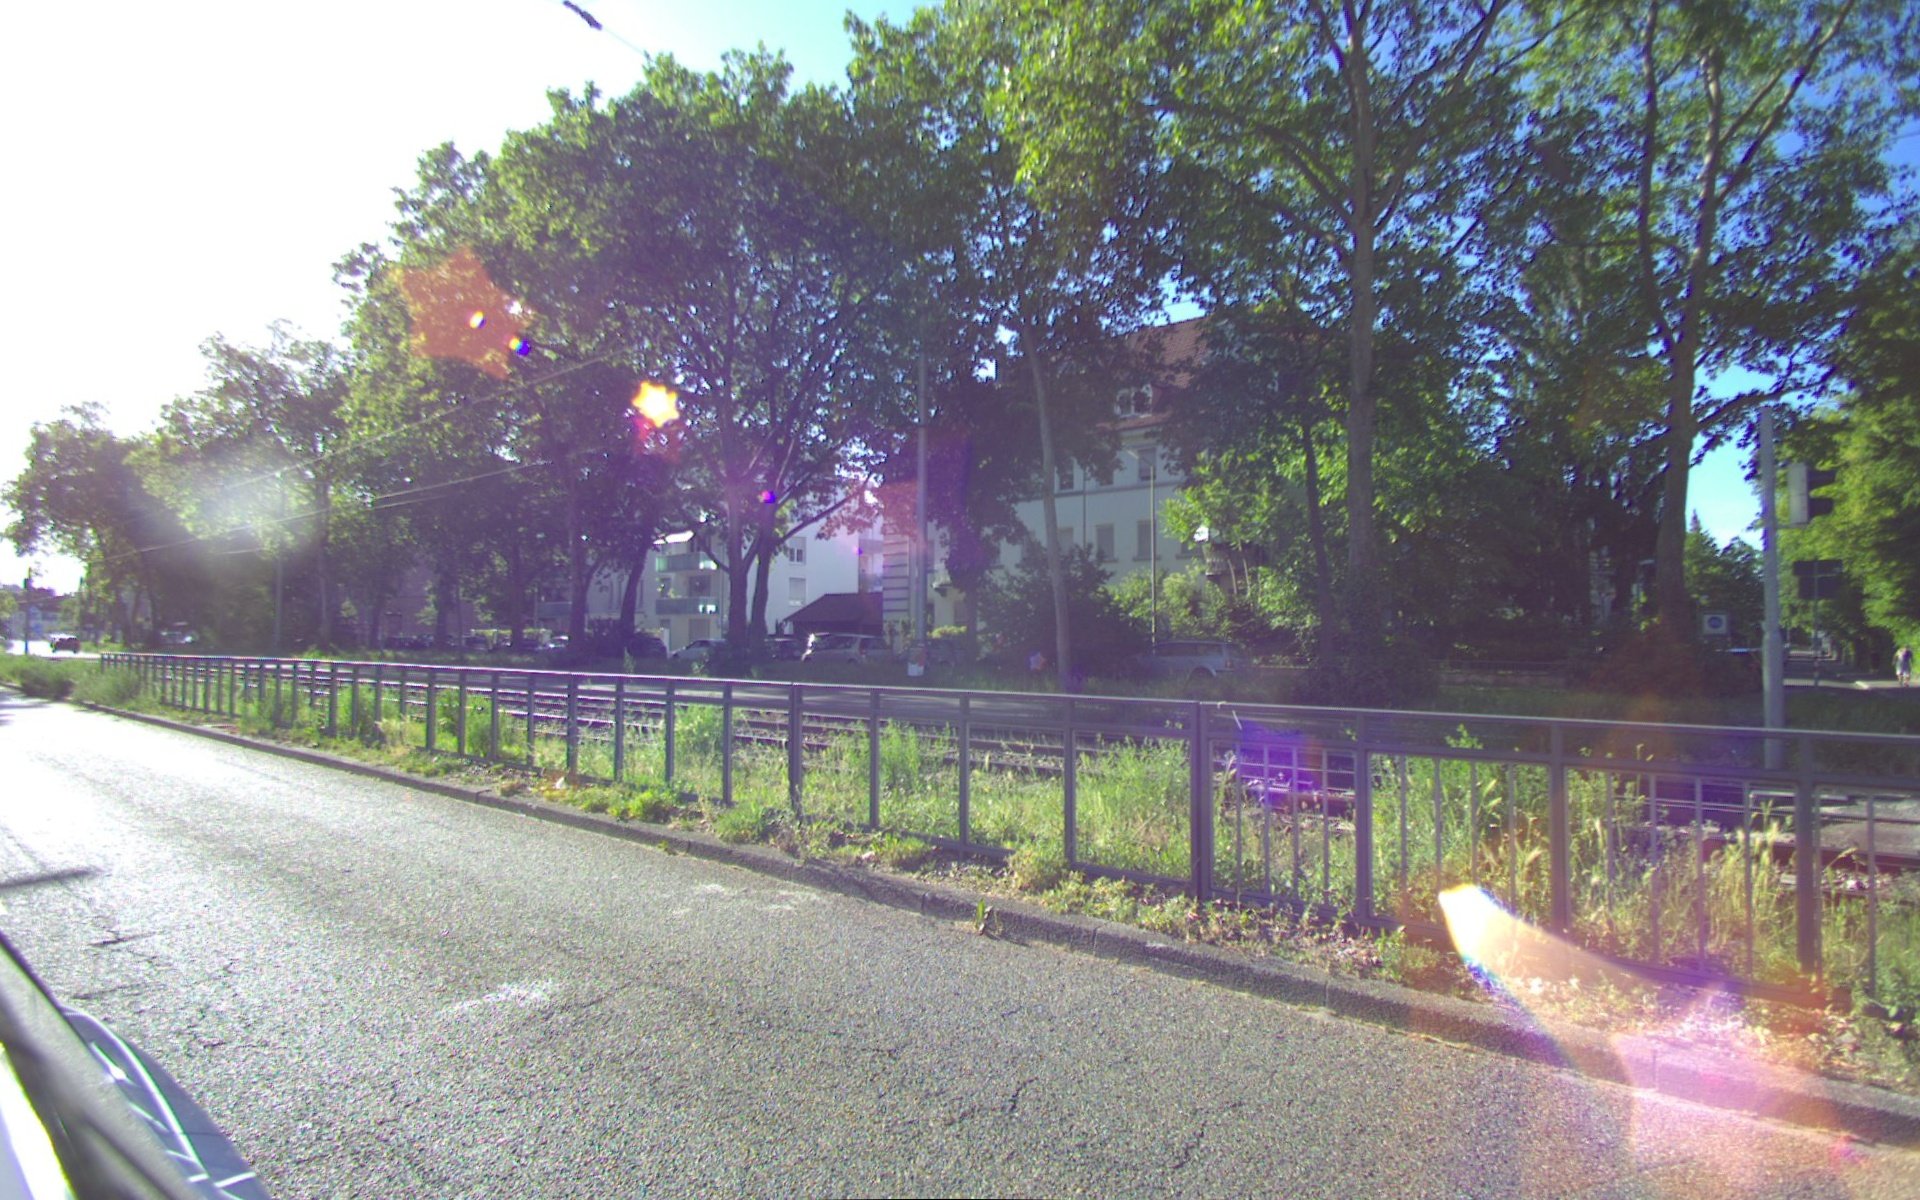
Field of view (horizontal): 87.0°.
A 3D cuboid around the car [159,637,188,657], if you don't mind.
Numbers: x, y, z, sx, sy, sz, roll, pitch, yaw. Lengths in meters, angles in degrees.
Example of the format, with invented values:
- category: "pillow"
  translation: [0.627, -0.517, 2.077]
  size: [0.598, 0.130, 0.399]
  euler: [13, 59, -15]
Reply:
- category: "car"
  translation: [-83.337, 4.957, 107.210]
  size: [1.970, 2.029, 4.002]
  euler: [2, -3, -45]

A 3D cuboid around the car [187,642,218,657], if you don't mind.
- category: "car"
  translation: [-75.283, 4.929, 100.610]
  size: [3.687, 1.497, 1.748]
  euler: [-2, -3, 42]

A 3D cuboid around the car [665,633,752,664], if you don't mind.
- category: "car"
  translation: [-11.505, 2.234, 46.162]
  size: [4.459, 1.334, 1.623]
  euler: [-2, -5, 42]

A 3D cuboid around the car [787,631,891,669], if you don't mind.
- category: "car"
  translation: [-4.869, 1.978, 40.320]
  size: [4.317, 1.451, 1.717]
  euler: [-2, -3, 42]

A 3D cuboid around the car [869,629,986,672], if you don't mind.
- category: "car"
  translation: [-1.237, 1.815, 37.171]
  size: [4.318, 1.452, 1.765]
  euler: [-2, -2, 43]

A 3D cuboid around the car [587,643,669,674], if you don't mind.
- category: "car"
  translation: [-16.609, 2.891, 50.547]
  size: [4.317, 1.464, 1.972]
  euler: [-2, -3, 42]

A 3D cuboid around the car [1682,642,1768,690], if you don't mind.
- category: "car"
  translation: [25.767, 2.172, 34.028]
  size: [1.999, 1.429, 3.945]
  euler: [-2, -3, 41]

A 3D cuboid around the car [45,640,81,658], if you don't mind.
- category: "car"
  translation: [-85.160, 4.676, 96.045]
  size: [4.456, 1.660, 1.838]
  euler: [-2, -3, 40]

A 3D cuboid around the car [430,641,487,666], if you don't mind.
- category: "car"
  translation: [-31.122, 3.282, 62.767]
  size: [3.998, 1.484, 1.778]
  euler: [-2, -3, 41]

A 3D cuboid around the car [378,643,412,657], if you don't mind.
- category: "car"
  translation: [-38.895, 3.434, 69.607]
  size: [3.058, 0.883, 1.094]
  euler: [-2, -3, 41]

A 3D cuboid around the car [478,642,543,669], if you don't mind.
- category: "car"
  translation: [-26.186, 3.216, 58.950]
  size: [3.998, 1.544, 1.972]
  euler: [-2, -3, 42]

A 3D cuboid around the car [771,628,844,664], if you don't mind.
- category: "car"
  translation: [-8.255, 2.493, 54.672]
  size: [3.818, 1.874, 1.830]
  euler: [-3, -3, 40]

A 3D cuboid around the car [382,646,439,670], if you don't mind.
- category: "car"
  translation: [-35.523, 3.729, 65.372]
  size: [3.998, 1.497, 1.972]
  euler: [-2, -3, 42]

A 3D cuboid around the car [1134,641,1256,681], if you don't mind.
- category: "car"
  translation: [6.970, 1.796, 30.119]
  size: [3.213, 1.125, 1.458]
  euler: [-2, -3, 38]
